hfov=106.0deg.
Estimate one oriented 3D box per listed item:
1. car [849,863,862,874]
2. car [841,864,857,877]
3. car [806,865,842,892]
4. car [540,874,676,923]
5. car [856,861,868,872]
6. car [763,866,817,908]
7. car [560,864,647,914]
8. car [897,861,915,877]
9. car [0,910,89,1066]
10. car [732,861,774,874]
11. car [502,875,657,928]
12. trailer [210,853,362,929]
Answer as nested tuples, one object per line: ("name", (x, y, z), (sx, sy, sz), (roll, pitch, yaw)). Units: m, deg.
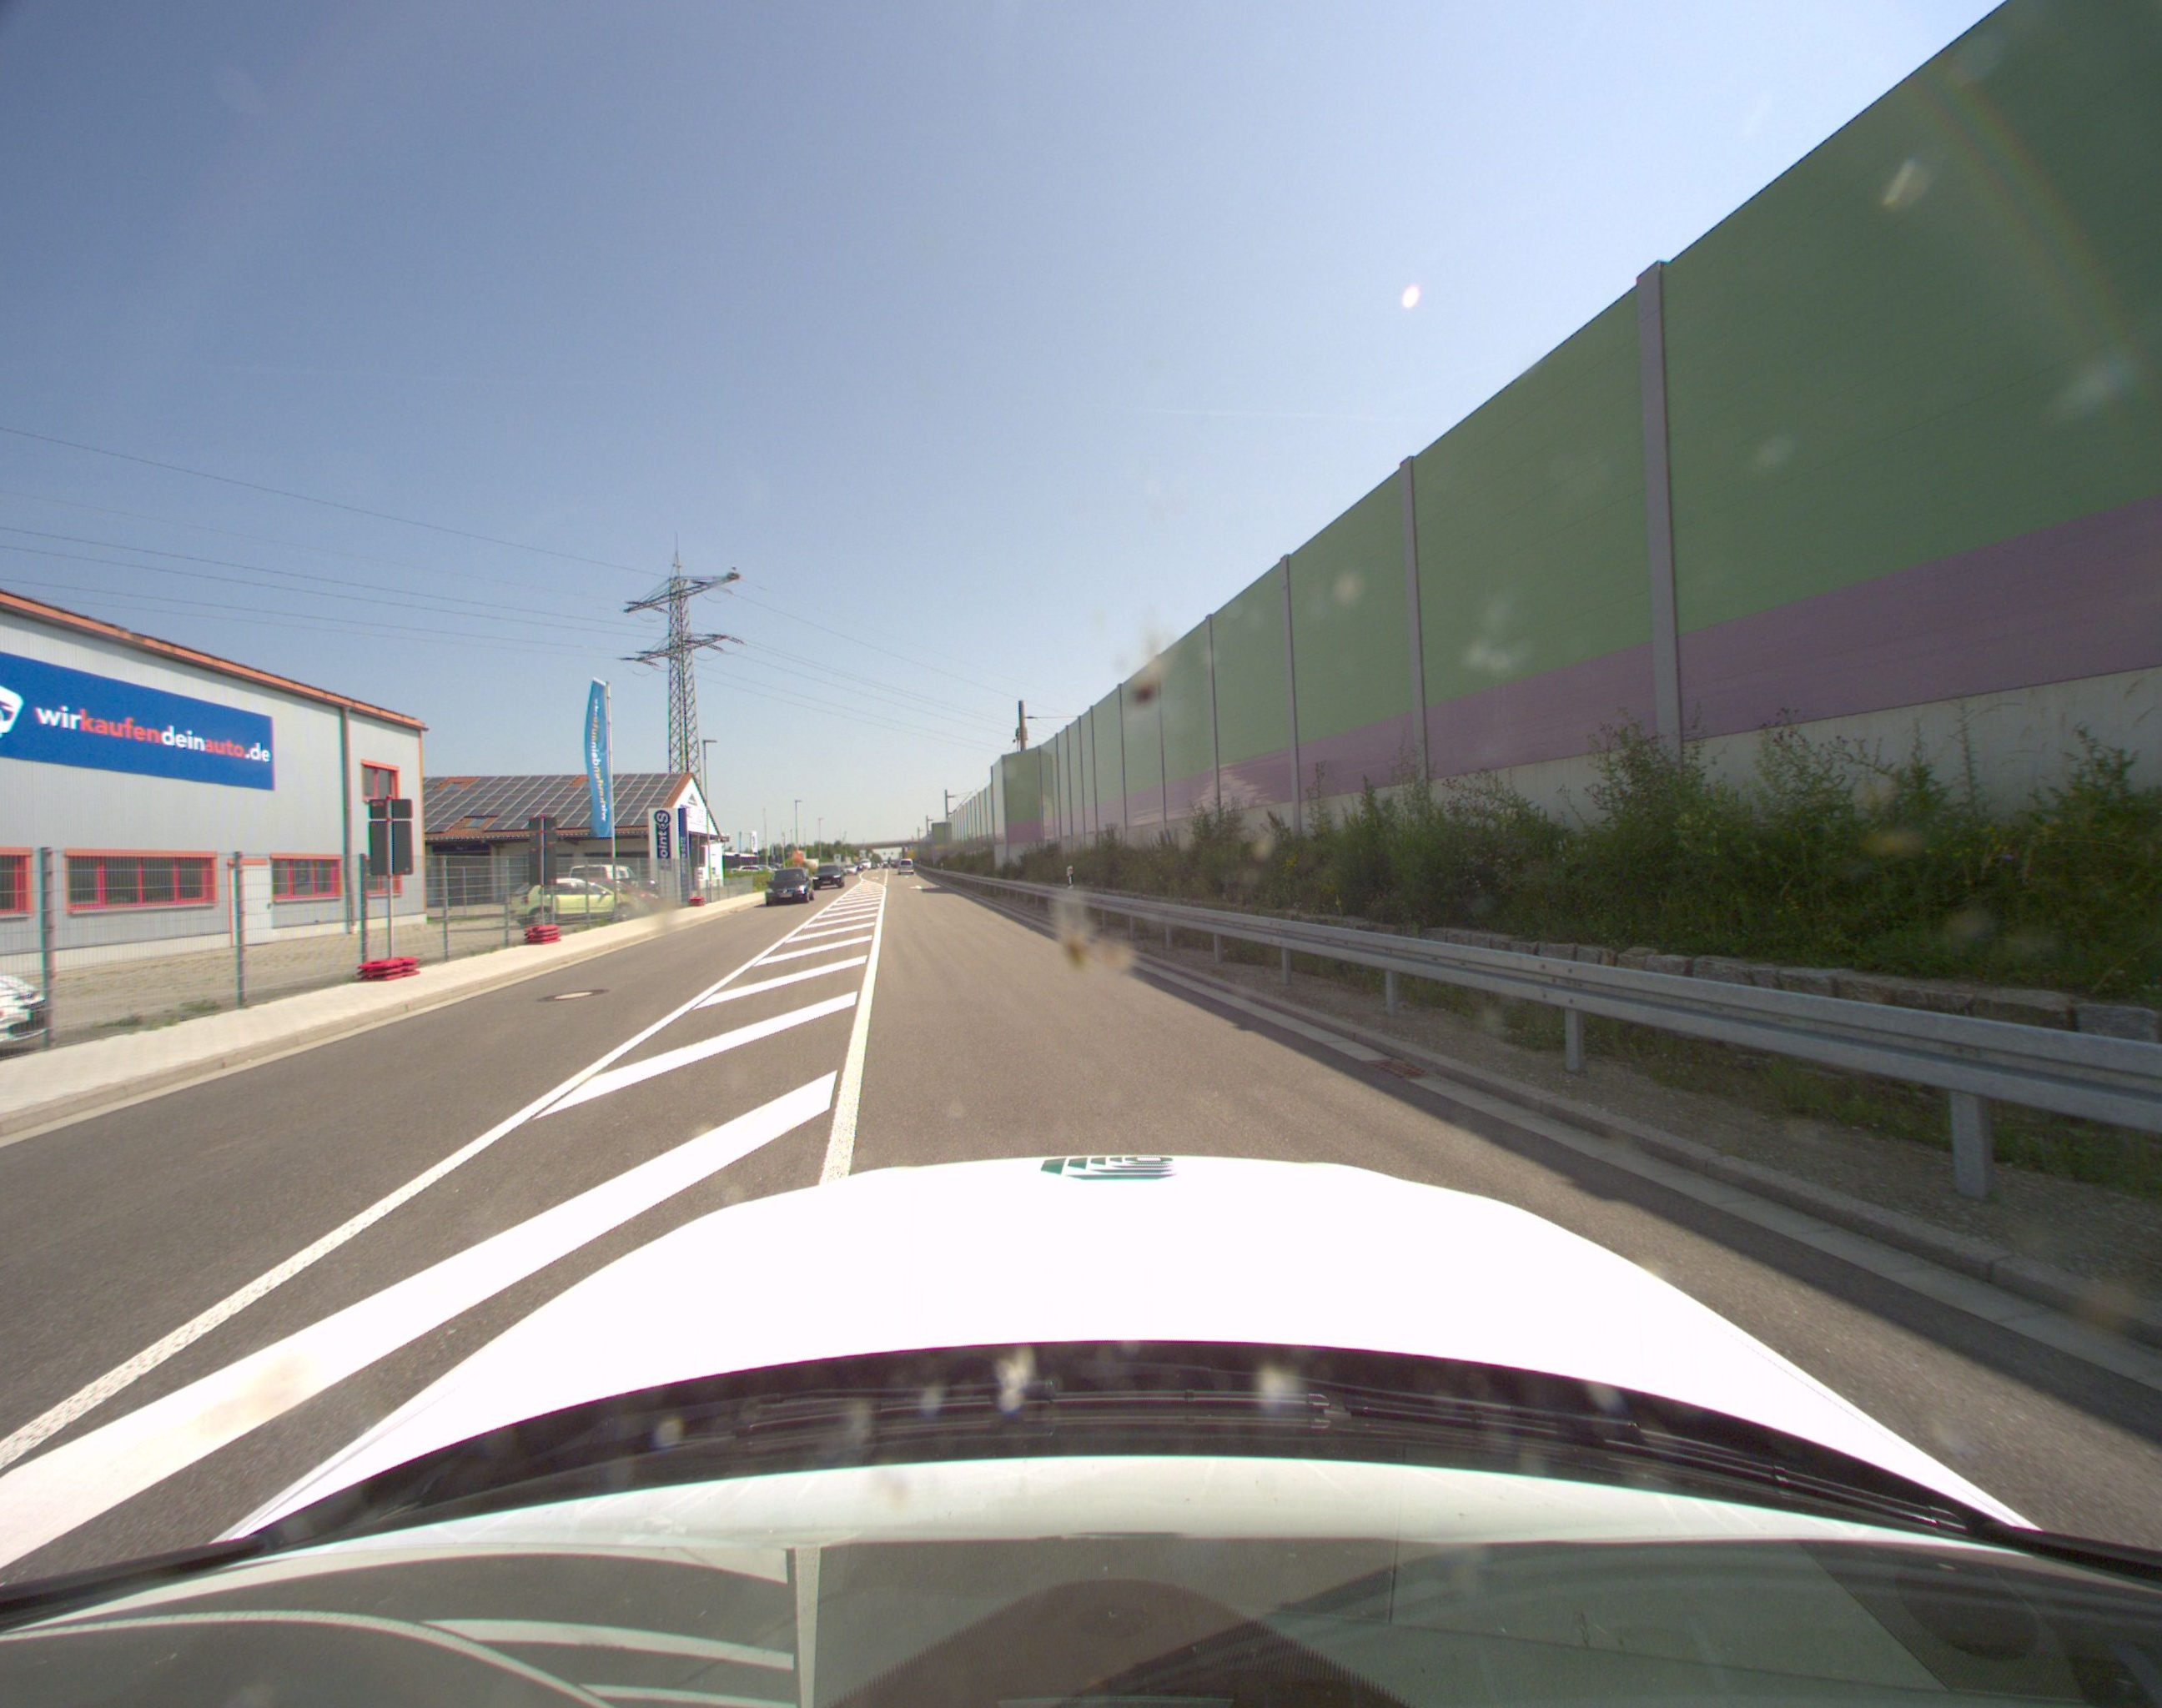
("car", (-34.102, 2.188, 123.095), (1.671, 1.600, 3.954), (-4, 0, -14))
("car", (-29.870, 2.157, 105.092), (1.767, 1.465, 4.238), (-4, 0, -14))
("car", (-17.644, 1.642, 56.091), (1.883, 1.616, 4.502), (-5, 0, -13))
("car", (-17.560, 1.616, 30.368), (1.722, 1.493, 4.024), (-3, 0, 44))
("car", (-39.429, 2.266, 146.587), (1.998, 1.874, 5.140), (-4, 0, -16))
("car", (-12.977, 1.426, 36.539), (1.744, 1.593, 3.778), (-5, 0, -13))
("car", (-21.832, 1.558, 37.458), (1.995, 2.013, 4.660), (-3, -1, -12))
("car", (-20.435, 1.746, 95.172), (1.995, 1.757, 3.984), (-2, 0, -12))
("car", (-12.199, 1.400, 7.562), (3.505, 1.464, 1.572), (-2, 0, -39))
("car", (-37.071, 1.479, 92.199), (4.231, 1.456, 1.755), (0, -1, -16))
("car", (-17.004, 1.565, 27.755), (1.721, 1.493, 4.119), (-3, 0, 41))
("trailer", (-32.737, 1.488, 33.796), (2.165, 2.849, 5.100), (-2, -1, -14))
